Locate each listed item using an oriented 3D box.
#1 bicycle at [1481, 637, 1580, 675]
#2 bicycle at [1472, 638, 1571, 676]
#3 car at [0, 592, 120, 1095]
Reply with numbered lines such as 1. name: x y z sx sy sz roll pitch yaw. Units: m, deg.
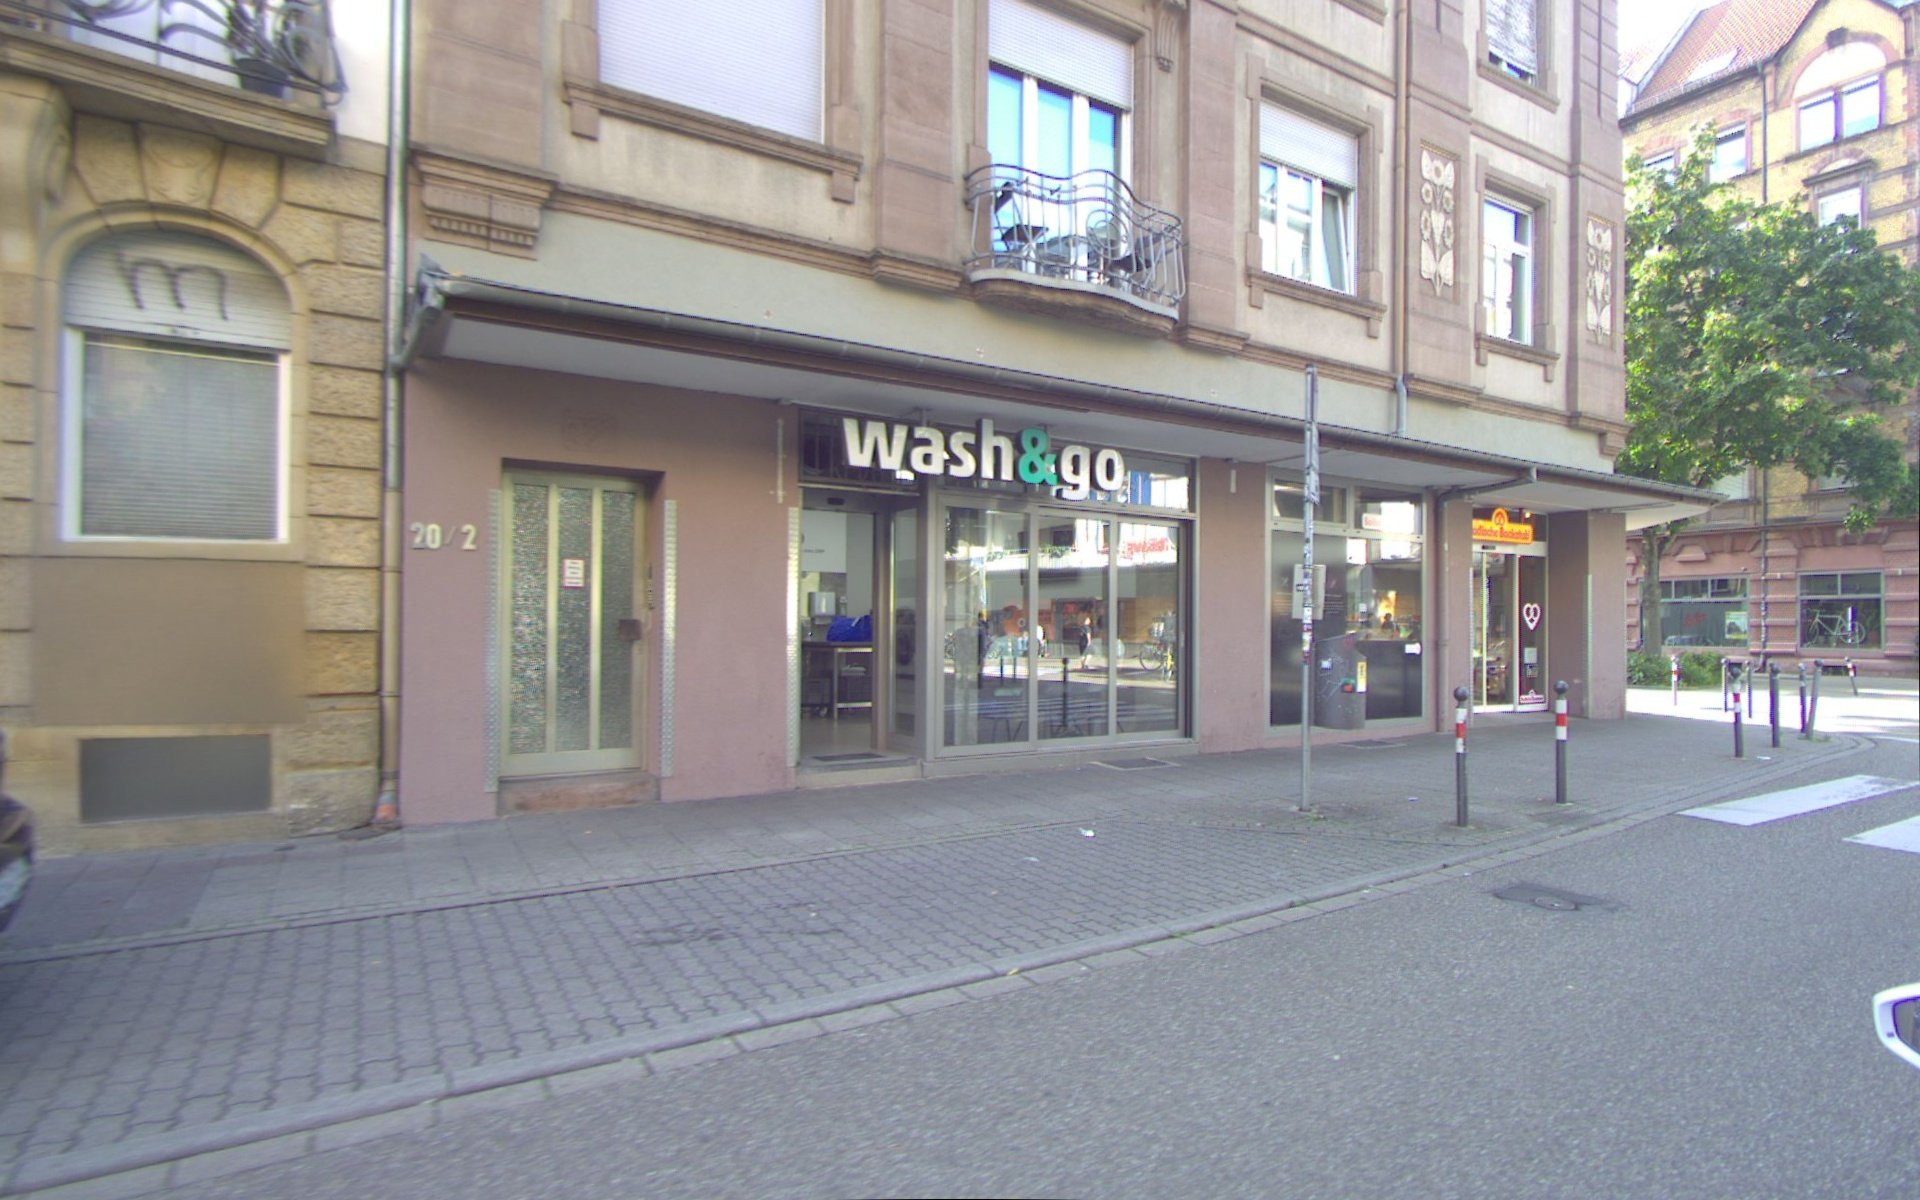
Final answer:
1. bicycle: 18.997 1.850 33.545 0.626 1.213 2.878 1 -2 -34
2. bicycle: 18.438 1.853 33.070 0.626 1.206 2.878 1 -2 -34
3. car: -4.874 0.675 2.344 4.198 1.439 1.983 1 -2 -33
